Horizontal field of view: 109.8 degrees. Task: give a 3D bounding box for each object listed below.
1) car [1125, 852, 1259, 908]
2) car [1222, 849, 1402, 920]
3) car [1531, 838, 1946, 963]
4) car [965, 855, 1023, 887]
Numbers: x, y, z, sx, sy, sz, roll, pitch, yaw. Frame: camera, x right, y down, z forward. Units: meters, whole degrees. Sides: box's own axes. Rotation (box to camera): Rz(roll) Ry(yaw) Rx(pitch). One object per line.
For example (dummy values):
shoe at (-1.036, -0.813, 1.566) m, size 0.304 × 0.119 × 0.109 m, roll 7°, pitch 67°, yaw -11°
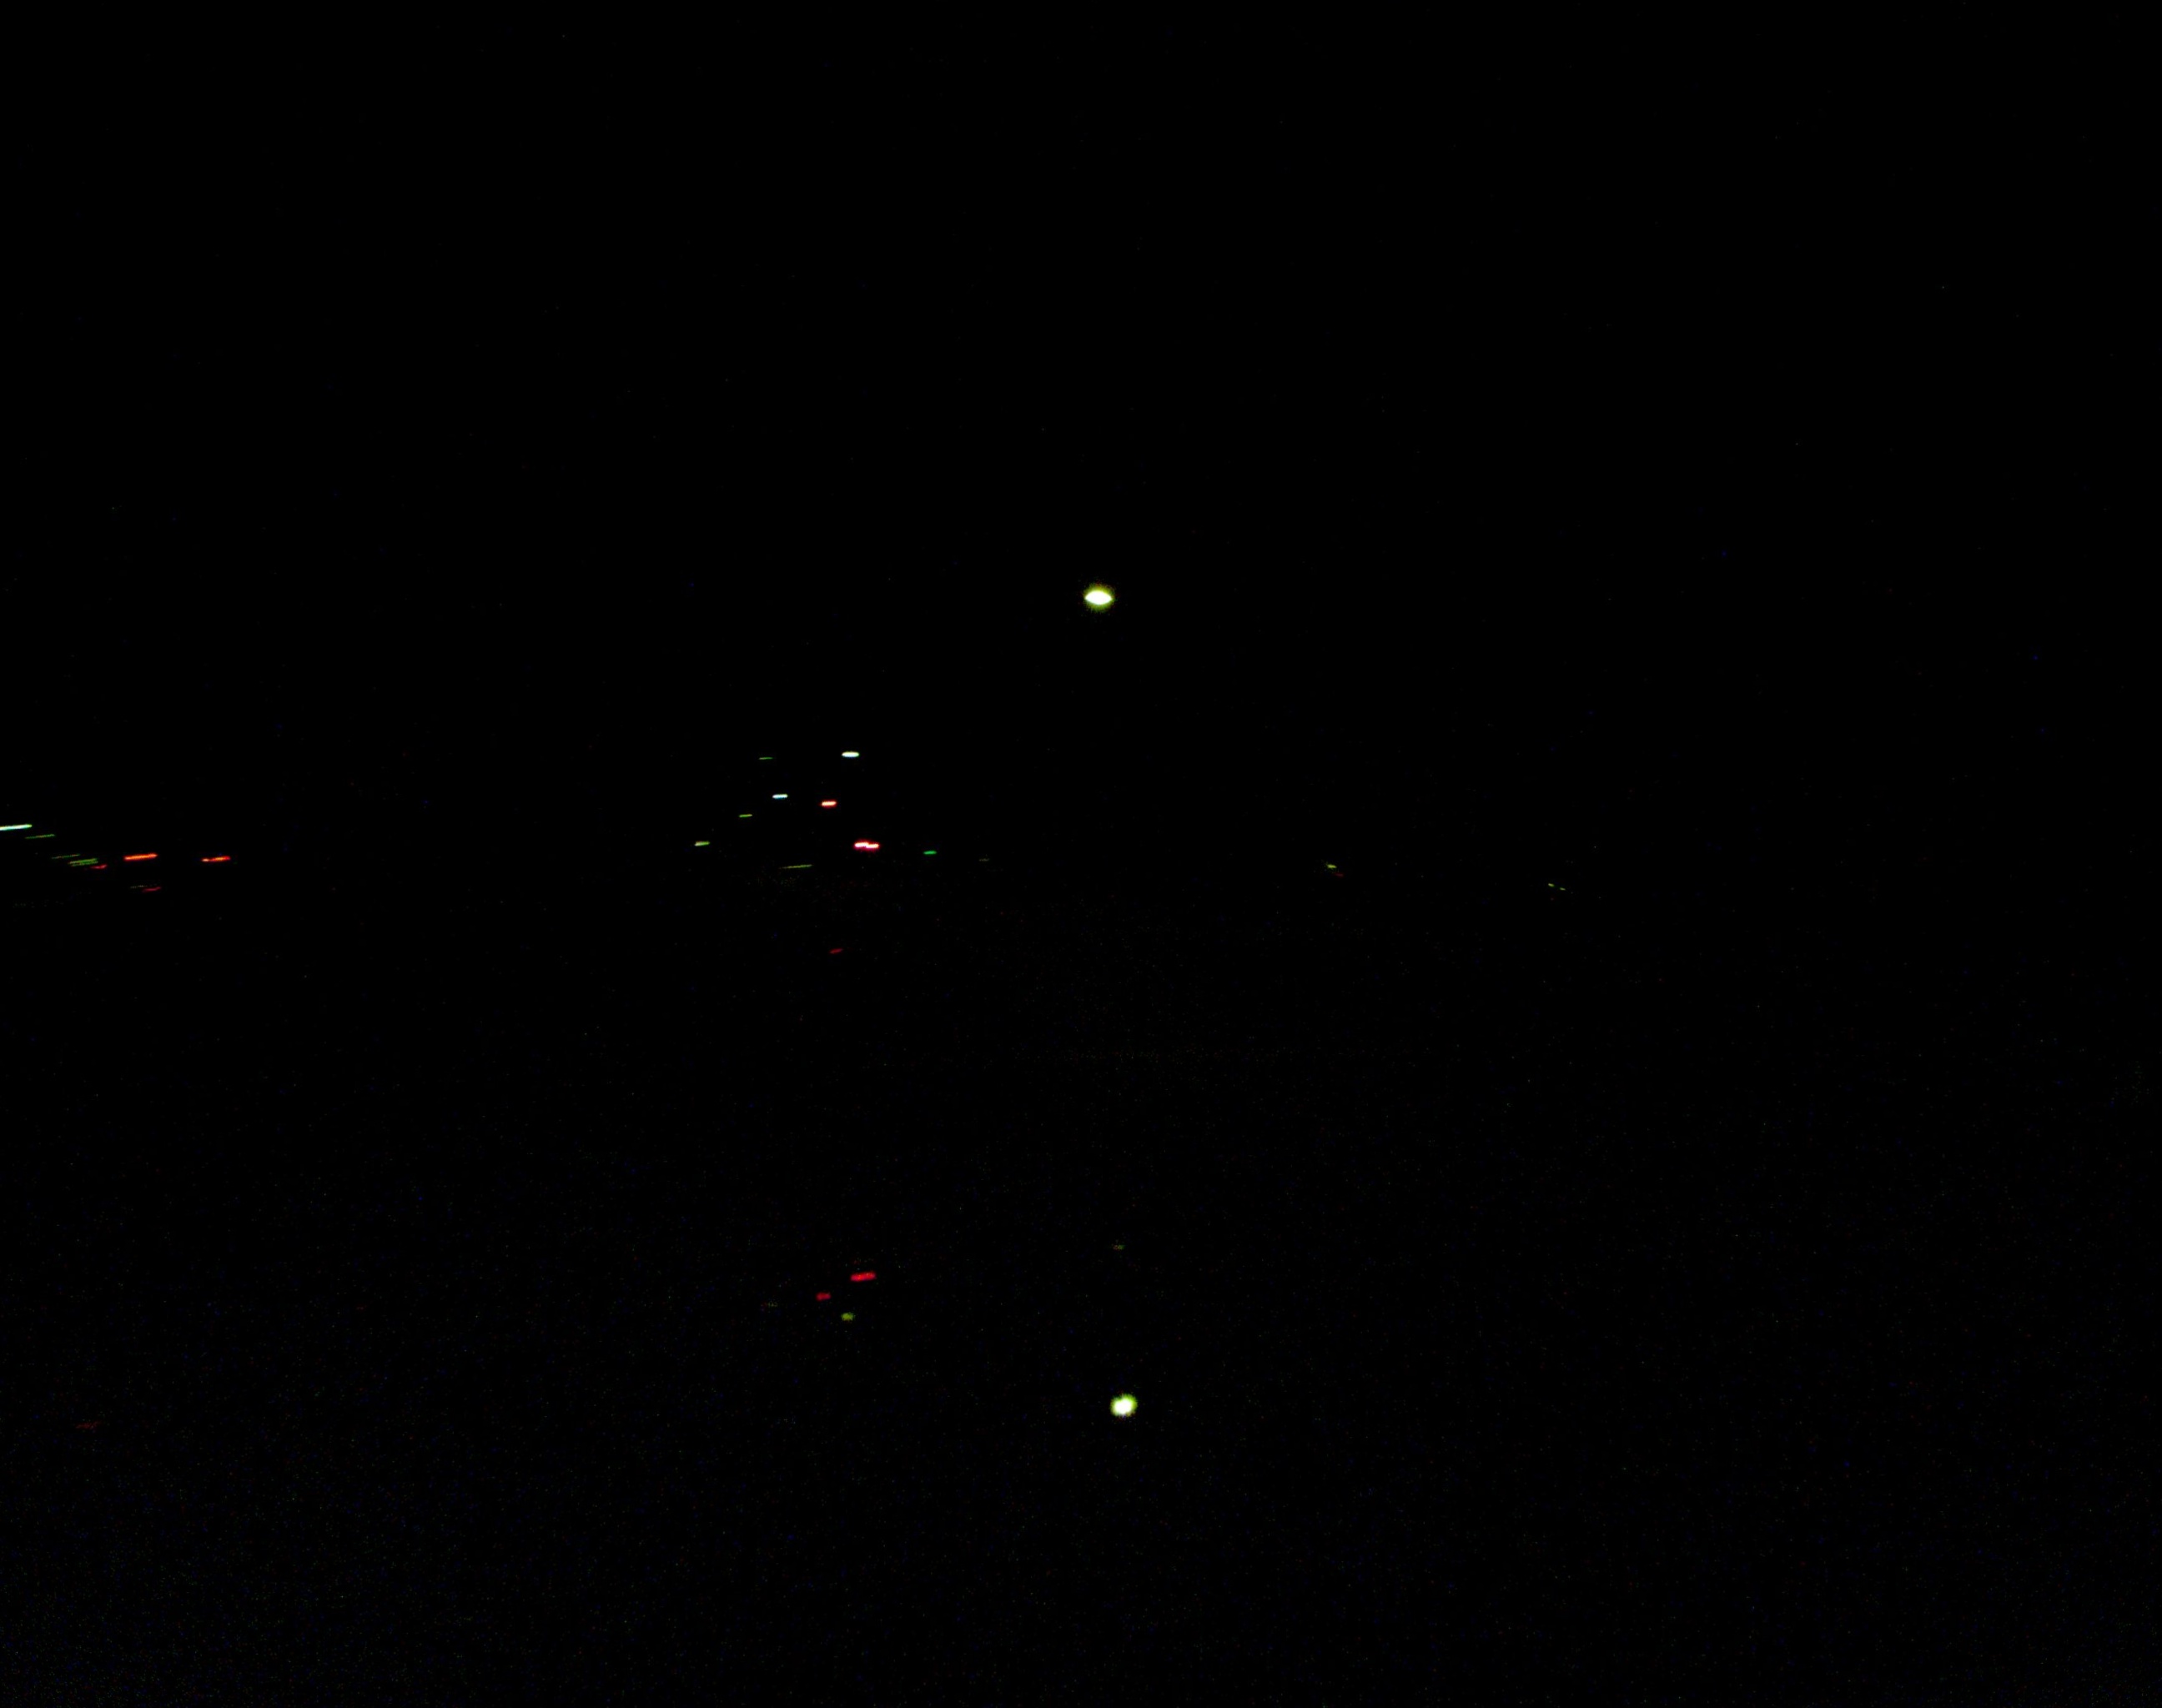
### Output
car at (3.231, 0.730, 23.078) m, size 1.645 × 1.425 × 4.340 m, roll -6°, pitch 2°, yaw -29°
car at (5.530, 0.682, 18.769) m, size 1.558 × 1.425 × 4.338 m, roll -6°, pitch 2°, yaw -29°
car at (9.651, 0.578, 11.597) m, size 1.869 × 1.425 × 4.393 m, roll -4°, pitch 2°, yaw -30°
car at (-4.368, 0.827, 37.735) m, size 1.636 × 1.455 × 3.507 m, roll -2°, pitch 1°, yaw -28°
